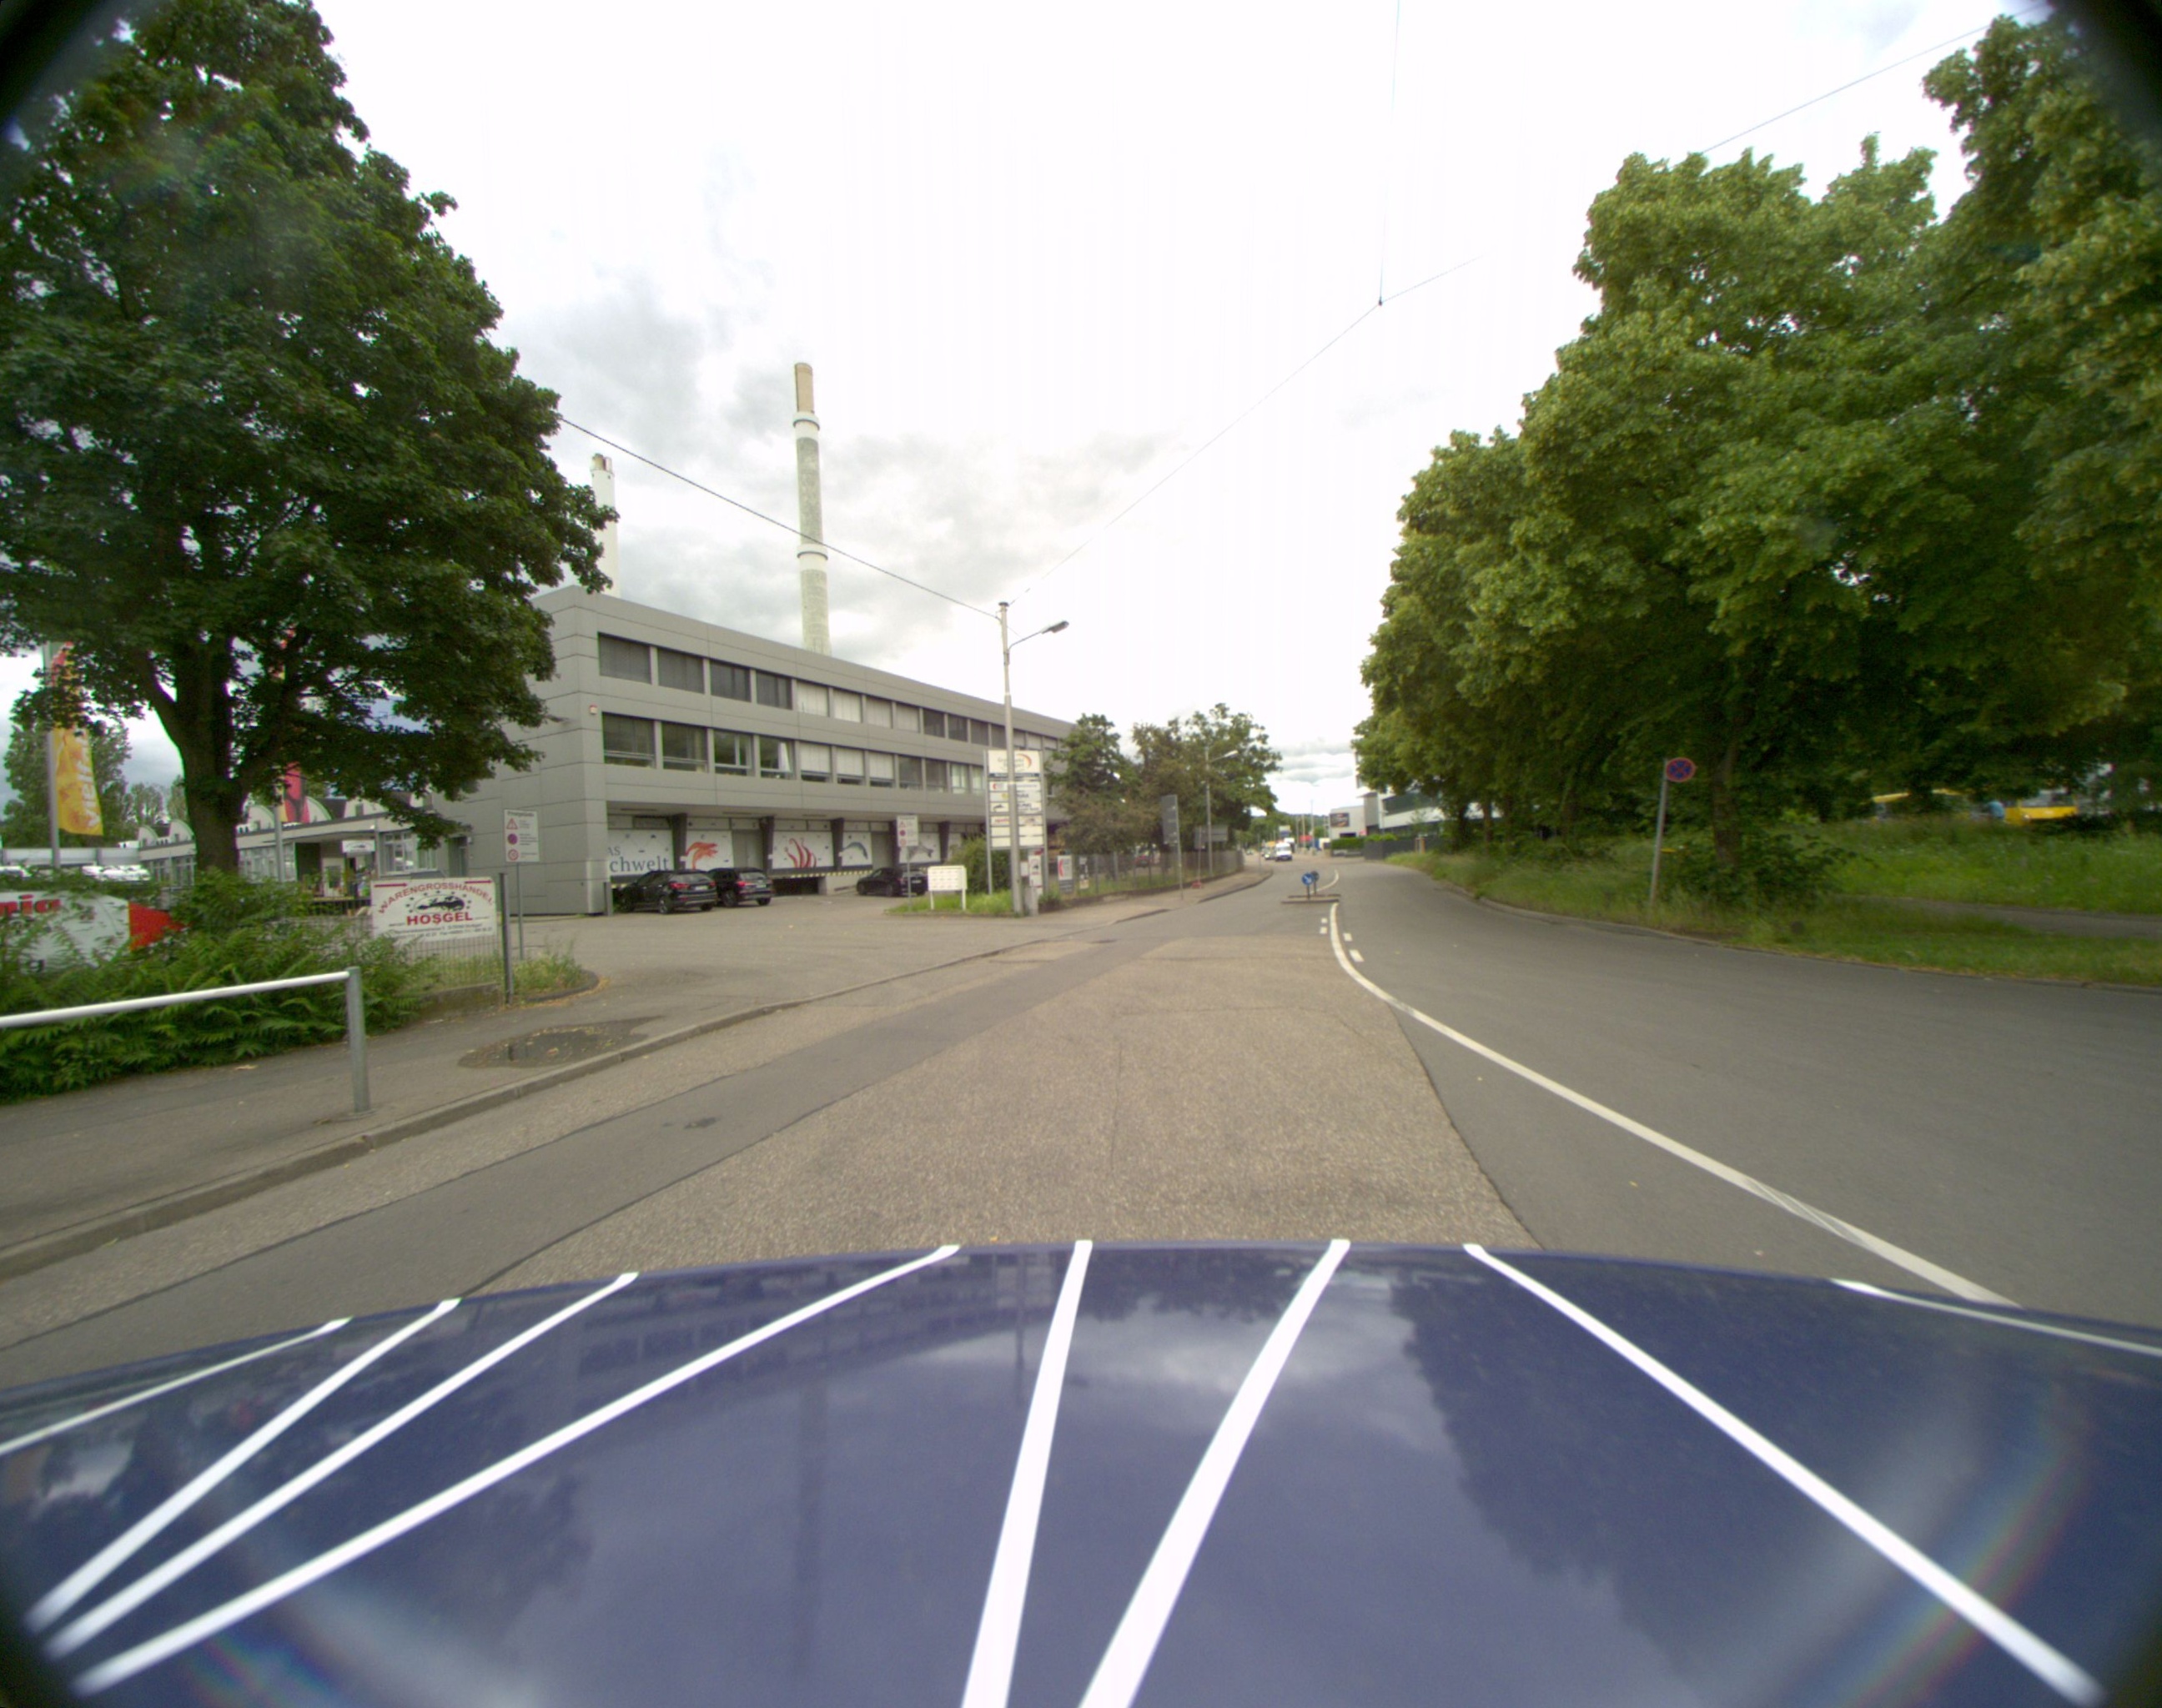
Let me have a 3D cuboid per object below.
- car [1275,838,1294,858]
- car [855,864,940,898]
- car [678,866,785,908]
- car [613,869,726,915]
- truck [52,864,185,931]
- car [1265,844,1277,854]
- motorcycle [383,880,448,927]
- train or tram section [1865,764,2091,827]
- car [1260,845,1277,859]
[{"bbox_3d":[27.706,-0.810,103.571,2.385,2.444,6.106,-4,0,14],"label":"car"},{"bbox_3d":[-9.387,1.327,38.655,2.054,1.437,4.815,-3,2,-42],"label":"car"},{"bbox_3d":[-14.905,1.383,32.326,4.411,1.608,1.842,-1,1,29],"label":"car"},{"bbox_3d":[-16.224,1.458,29.901,4.453,1.608,1.842,-1,1,30],"label":"car"},{"bbox_3d":[-65.207,2.981,51.299,15.810,4.002,2.878,-3,0,29],"label":"truck"},{"bbox_3d":[39.572,-1.002,158.165,2.385,1.859,5.212,-4,0,14],"label":"car"},{"bbox_3d":[-25.786,1.879,29.506,1.198,1.645,2.888,-3,0,-28],"label":"motorcycle"},{"bbox_3d":[65.194,-3.961,56.394,3.270,3.644,19.204,-3,0,26],"label":"train or tram section"},{"bbox_3d":[28.576,-0.364,115.918,2.385,1.859,5.212,-4,0,14],"label":"car"}]
